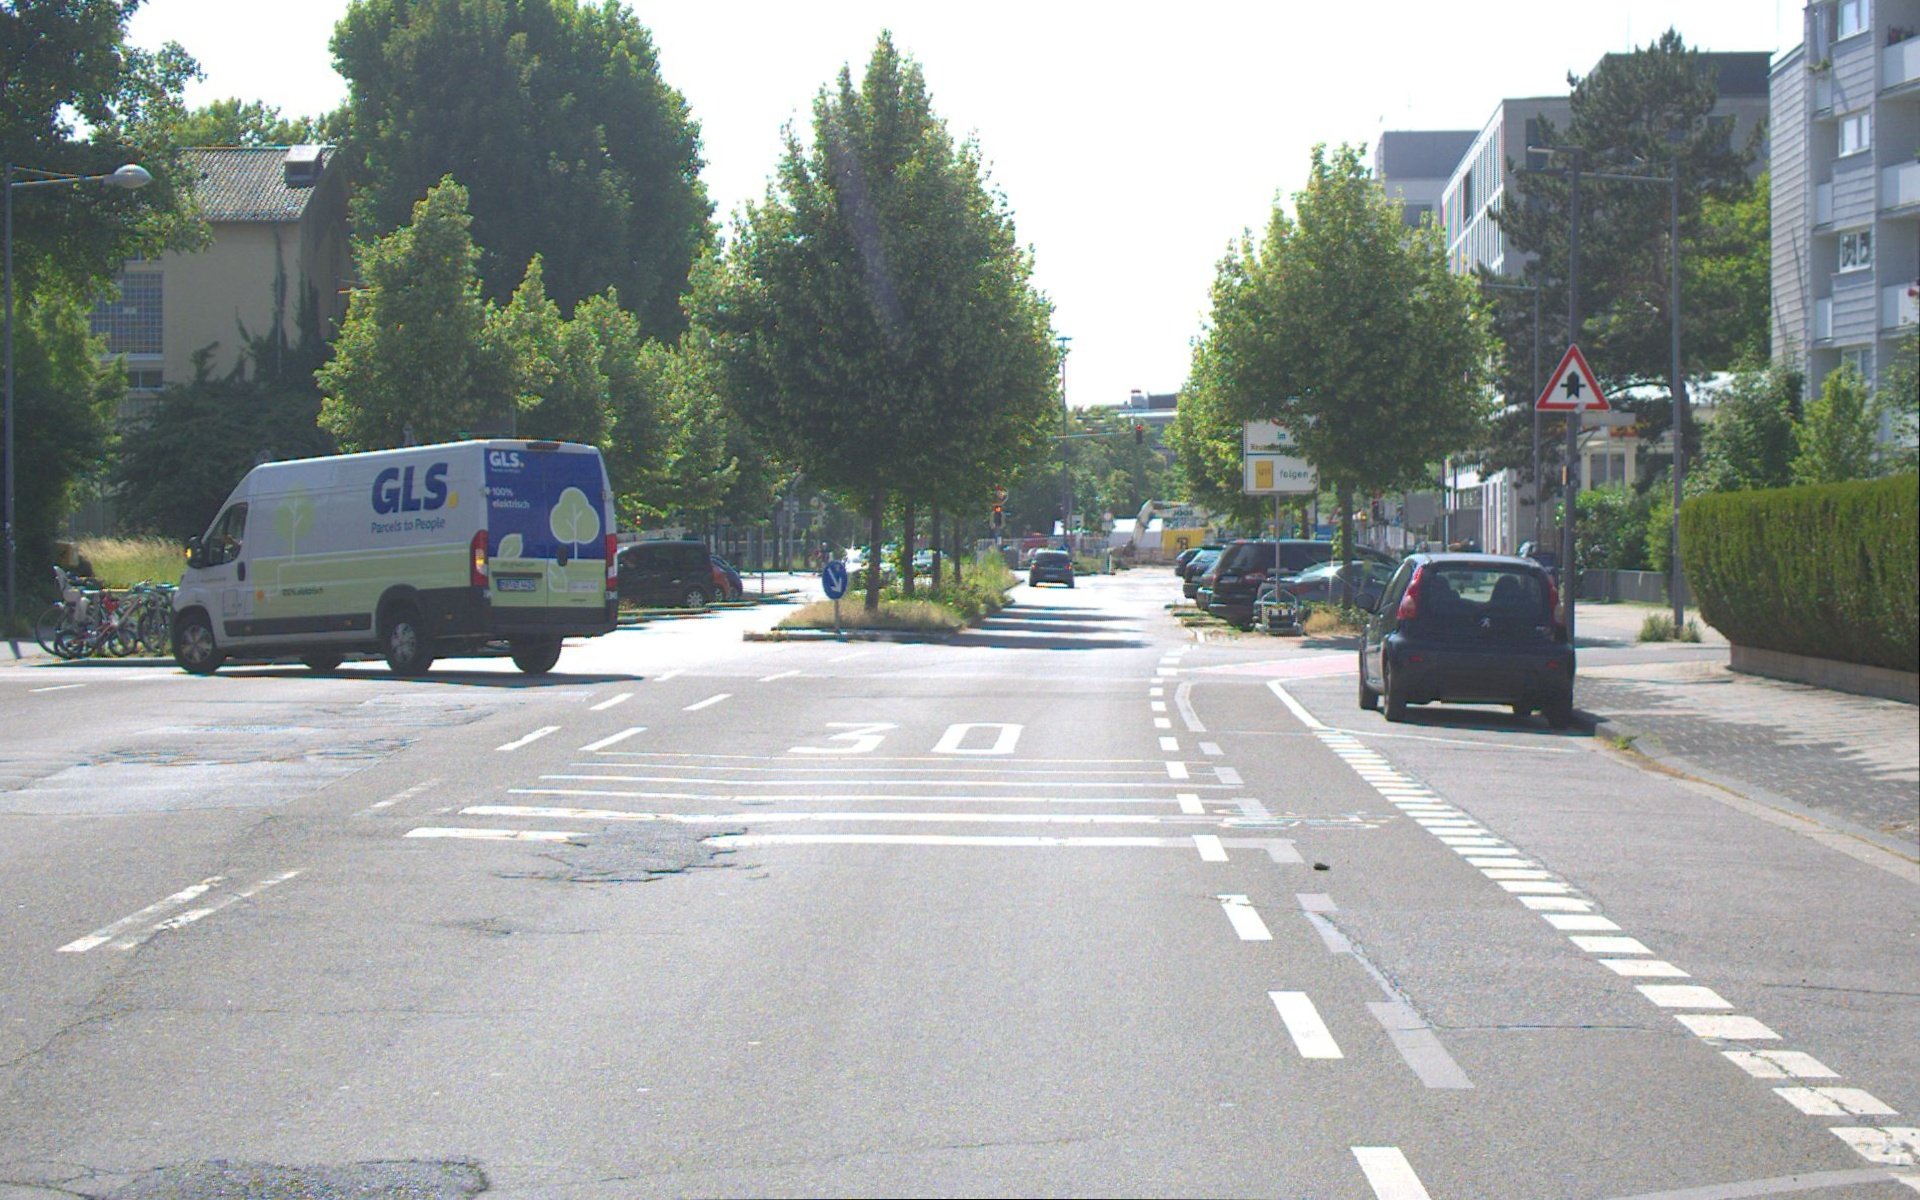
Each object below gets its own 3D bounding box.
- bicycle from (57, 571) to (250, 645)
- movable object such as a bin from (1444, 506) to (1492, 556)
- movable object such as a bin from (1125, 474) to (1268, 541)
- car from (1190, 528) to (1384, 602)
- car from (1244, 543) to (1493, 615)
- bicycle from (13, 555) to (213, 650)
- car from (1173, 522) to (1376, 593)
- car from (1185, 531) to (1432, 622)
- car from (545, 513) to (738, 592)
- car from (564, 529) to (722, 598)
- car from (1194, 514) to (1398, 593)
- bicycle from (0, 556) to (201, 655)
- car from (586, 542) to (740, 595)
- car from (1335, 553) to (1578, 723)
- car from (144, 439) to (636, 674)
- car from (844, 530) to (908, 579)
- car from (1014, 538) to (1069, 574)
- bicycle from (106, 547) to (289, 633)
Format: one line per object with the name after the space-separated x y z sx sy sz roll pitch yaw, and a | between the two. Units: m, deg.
-11.432 0.111 48.765 2.544 0.984 0.739 -1 2 0 | bicycle
16.852 -2.300 114.126 1.307 1.586 1.396 -3 1 0 | movable object such as a bin
16.279 -6.361 236.562 9.677 4.534 3.163 0 1 5 | movable object such as a bin
7.266 -0.792 76.482 3.986 1.634 1.753 0 1 -9 | car
7.162 -0.384 60.298 3.986 1.232 1.753 0 1 -23 | car
-11.673 0.026 47.401 2.544 1.235 0.739 -1 2 0 | bicycle
7.575 -1.030 82.585 4.730 1.654 1.753 -1 1 -31 | car
6.405 -0.456 63.195 4.106 1.634 2.044 -1 1 -30 | car
-7.690 -1.175 83.144 4.175 1.810 2.004 -2 2 -35 | car
-8.237 -0.964 89.260 3.761 1.766 1.820 0 1 -20 | car
7.186 -1.008 73.650 3.986 1.634 1.753 0 2 -17 | car
-11.616 0.068 46.408 2.544 1.252 0.739 -1 2 0 | bicycle
-8.100 -0.864 93.739 3.830 1.418 1.715 -1 1 -33 | car
4.394 0.293 30.932 1.617 1.385 4.000 1 1 1 | car
-6.667 -0.492 39.684 6.131 2.515 2.278 0 2 43 | car
-2.774 -1.504 113.776 1.741 1.542 4.072 -1 1 4 | car
3.180 -1.742 134.898 1.993 1.393 4.000 0 1 -1 | car
-11.303 -0.150 50.993 2.544 1.252 0.739 0 1 0 | bicycle
